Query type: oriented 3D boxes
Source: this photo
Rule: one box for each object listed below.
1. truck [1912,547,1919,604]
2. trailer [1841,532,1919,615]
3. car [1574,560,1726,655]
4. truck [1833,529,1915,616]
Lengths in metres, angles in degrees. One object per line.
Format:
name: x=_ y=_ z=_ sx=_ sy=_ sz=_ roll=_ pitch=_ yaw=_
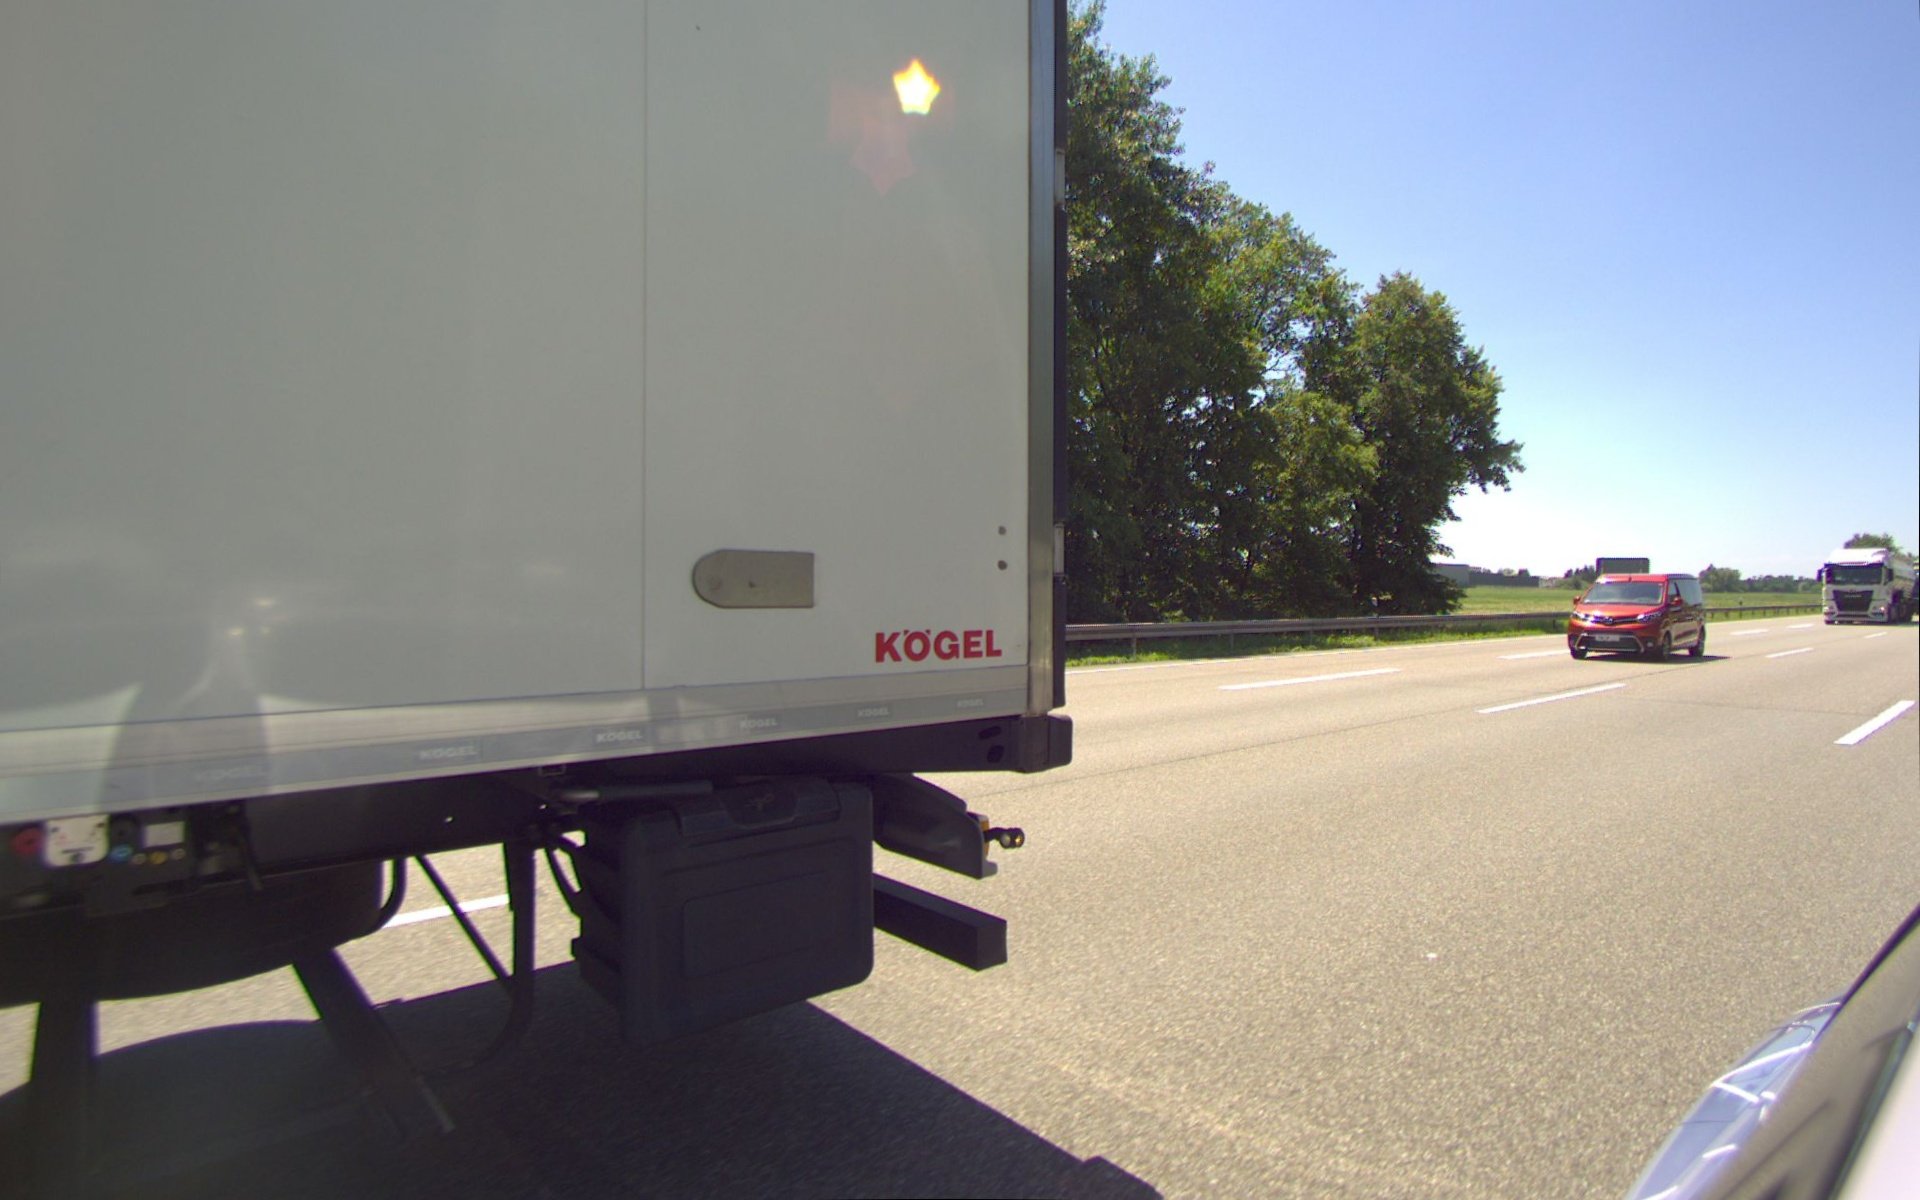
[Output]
truck: x=76.766 y=-1.857 z=79.074 sx=10.625 sy=4.257 sz=2.793 roll=0 pitch=1 yaw=-43
trailer: x=52.371 y=-1.430 z=57.206 sx=12.148 sy=4.257 sz=2.793 roll=0 pitch=1 yaw=-44
car: x=16.530 y=0.130 z=24.117 sx=5.429 sy=2.028 sz=1.858 roll=-1 pitch=0 yaw=-43
truck: x=47.054 y=-1.371 z=52.072 sx=4.917 sy=4.257 sz=2.793 roll=0 pitch=1 yaw=-44
